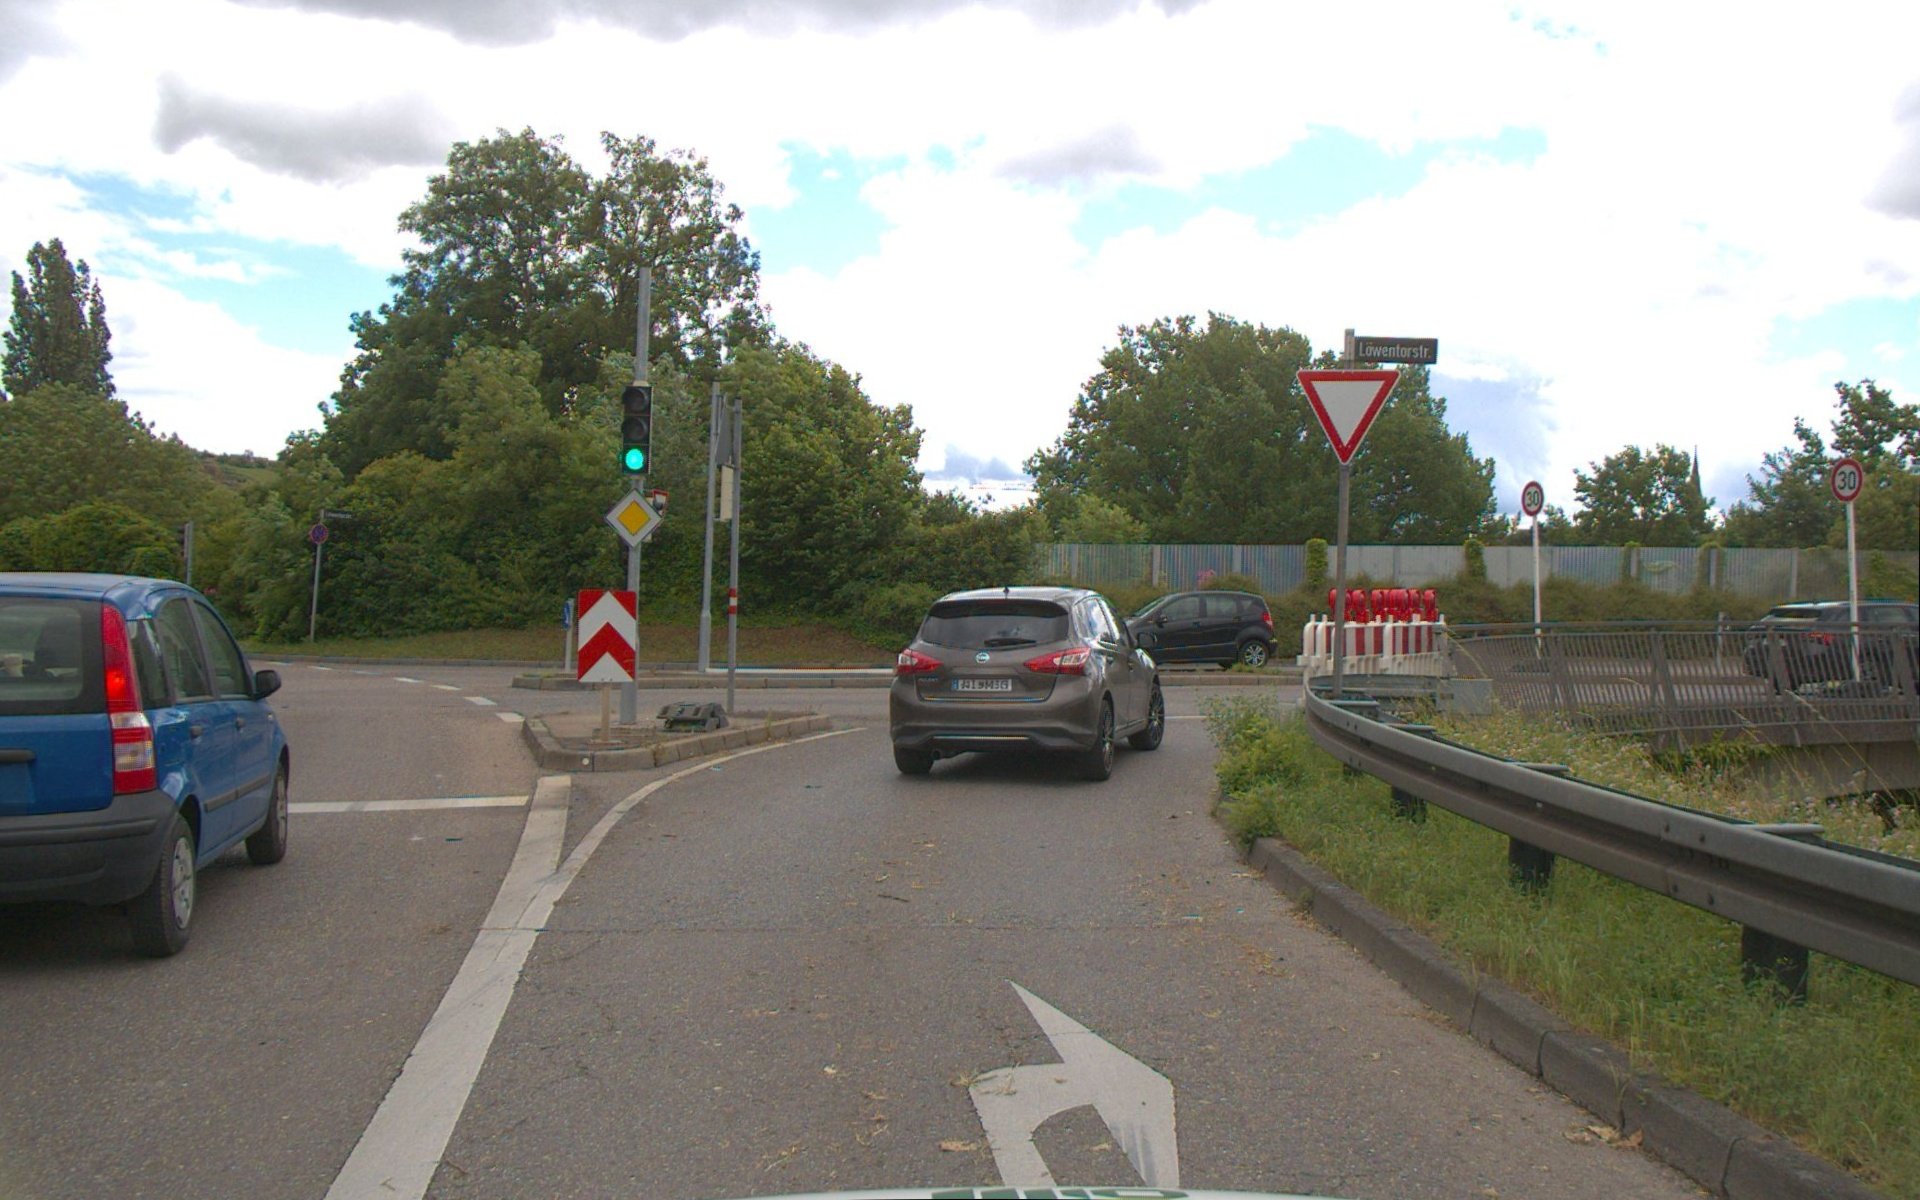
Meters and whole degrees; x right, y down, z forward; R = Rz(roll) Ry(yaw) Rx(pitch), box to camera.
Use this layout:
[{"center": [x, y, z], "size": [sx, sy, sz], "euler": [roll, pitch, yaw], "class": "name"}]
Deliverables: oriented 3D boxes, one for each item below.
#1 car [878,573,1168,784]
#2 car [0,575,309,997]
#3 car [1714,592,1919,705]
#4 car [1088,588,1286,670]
[{"center": [0.706, 0.587, 14.529], "size": [1.759, 1.579, 4.003], "euler": [0, 0, 14], "class": "car"}, {"center": [-4.068, 0.666, 7.605], "size": [1.516, 1.534, 3.369], "euler": [0, 0, -13], "class": "car"}, {"center": [14.152, 0.788, 26.176], "size": [3.714, 1.579, 1.818], "euler": [3, 0, -15], "class": "car"}, {"center": [4.601, 0.609, 33.719], "size": [3.707, 1.579, 1.639], "euler": [1, -2, -10], "class": "car"}]
